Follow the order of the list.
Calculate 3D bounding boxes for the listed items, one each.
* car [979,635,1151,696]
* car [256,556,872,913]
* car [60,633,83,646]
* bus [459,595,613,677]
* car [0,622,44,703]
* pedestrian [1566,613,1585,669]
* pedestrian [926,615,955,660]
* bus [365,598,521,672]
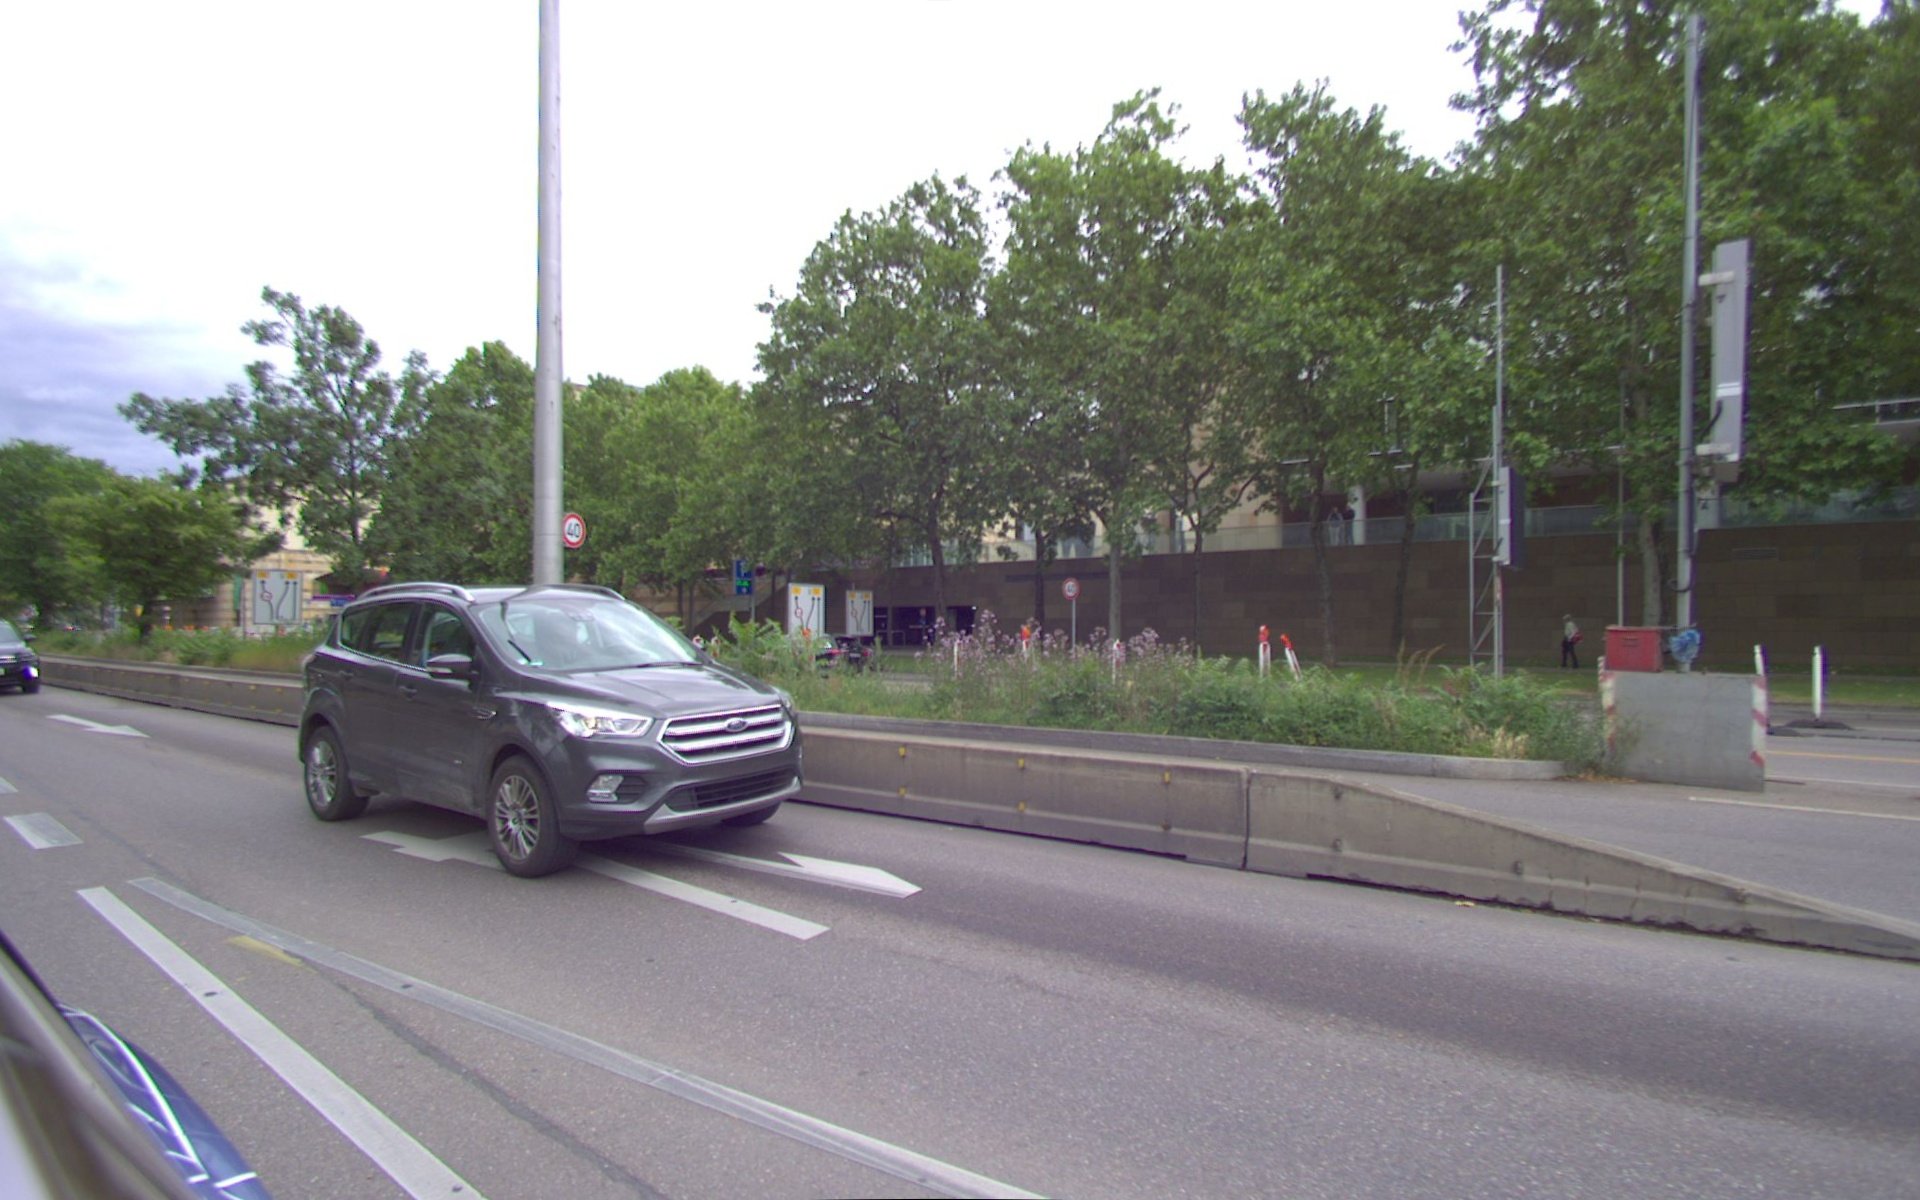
[{"bbox_3d":[2.559,1.568,25.112,3.997,1.383,1.708,-2,-3,40],"label":"car"},{"bbox_3d":[-2.975,0.707,7.080,4.650,1.728,1.876,-2,-1,37],"label":"car"},{"bbox_3d":[-99.617,4.422,113.436,3.733,1.298,1.339,-1,1,39],"label":"car"},{"bbox_3d":[-18.827,1.547,44.699,7.696,3.329,2.895,-1,-2,38],"label":"bus"},{"bbox_3d":[-20.260,1.240,20.465,4.144,1.527,1.747,-1,0,36],"label":"car"},{"bbox_3d":[18.035,1.204,29.660,0.443,1.619,0.351,-1,1,33],"label":"pedestrian"},{"bbox_3d":[-0.819,1.596,43.213,0.987,1.869,0.714,-1,-3,39],"label":"pedestrian"},{"bbox_3d":[-25.915,1.707,50.390,10.437,3.330,2.884,-1,-2,39],"label":"bus"}]
